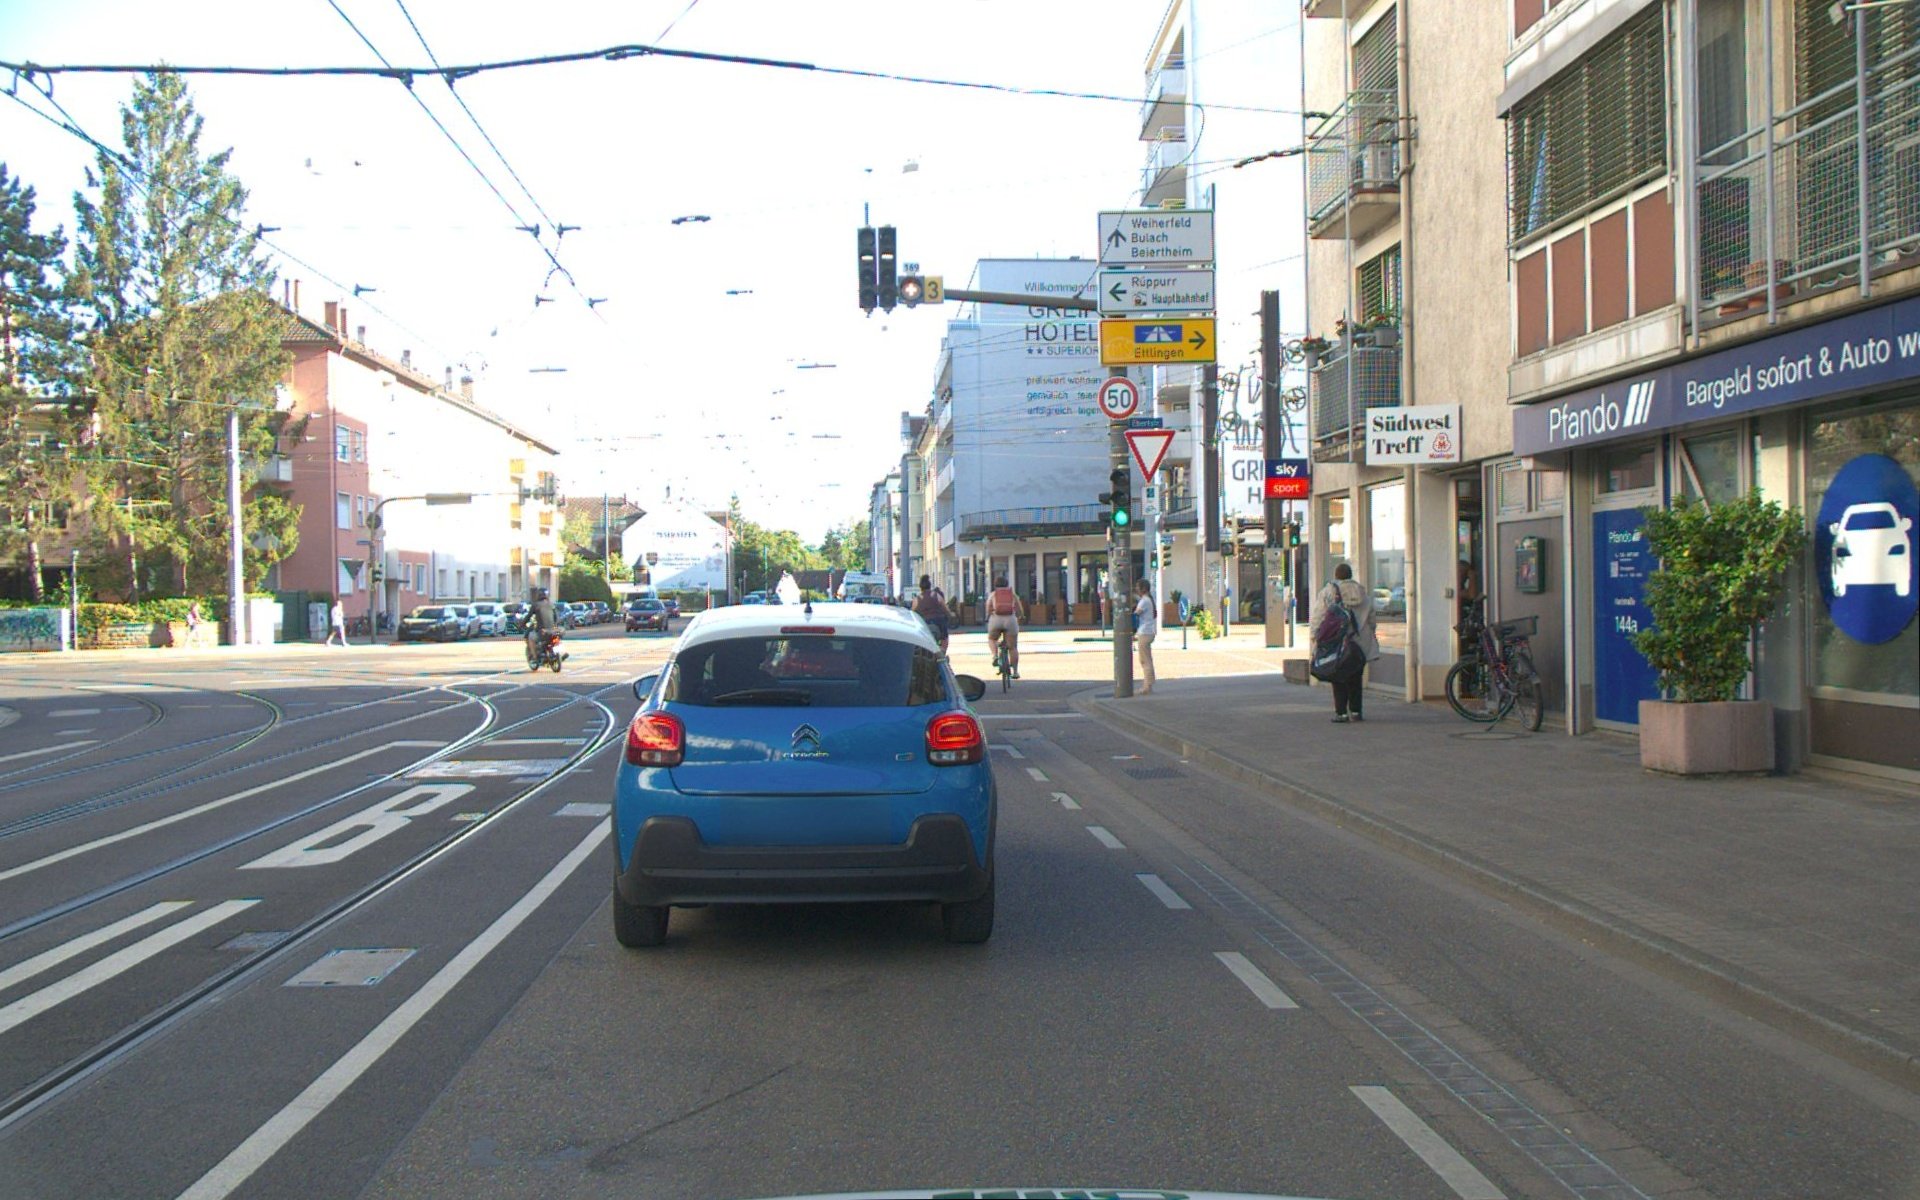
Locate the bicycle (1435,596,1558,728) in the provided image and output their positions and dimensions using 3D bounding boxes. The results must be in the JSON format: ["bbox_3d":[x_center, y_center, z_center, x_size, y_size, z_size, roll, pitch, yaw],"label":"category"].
[{"bbox_3d":[5.099,0.566,15.813,0.486,1.182,1.776,-1,-1,-4],"label":"bicycle"}]

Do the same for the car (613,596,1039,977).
[{"bbox_3d":[-0.841,0.727,8.394,1.705,1.478,3.653,0,0,-11],"label":"car"}]

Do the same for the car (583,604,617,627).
[{"bbox_3d":[-25.653,1.074,117.948,1.833,1.604,3.995,1,0,-6],"label":"car"}]

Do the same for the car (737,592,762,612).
[{"bbox_3d":[-21.605,0.184,169.622,2.174,1.965,4.945,1,0,-4],"label":"car"}]

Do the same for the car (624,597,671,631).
[{"bbox_3d":[-14.374,0.636,76.152,1.744,1.512,3.824,-1,0,-5],"label":"car"}]

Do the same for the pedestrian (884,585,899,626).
[{"bbox_3d":[-2.865,0.235,69.558,0.600,1.683,0.671,1,-1,-2],"label":"pedestrian"}]

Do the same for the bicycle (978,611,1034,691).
[{"bbox_3d":[0.742,0.779,26.276,0.794,1.202,2.065,1,0,4],"label":"bicycle"}]

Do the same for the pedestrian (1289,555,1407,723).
[{"bbox_3d":[3.953,0.382,16.913,0.868,1.619,0.809,-3,1,-9],"label":"pedestrian"}]

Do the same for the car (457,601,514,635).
[{"bbox_3d":[-22.572,0.824,78.827,1.707,1.553,4.226,1,0,-4],"label":"car"}]

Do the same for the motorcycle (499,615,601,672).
[{"bbox_3d":[-8.185,0.856,33.020,1.899,1.065,0.856,1,-1,30],"label":"motorcycle"}]

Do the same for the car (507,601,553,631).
[{"bbox_3d":[-23.808,0.893,91.695,1.833,1.604,3.995,1,0,-6],"label":"car"}]

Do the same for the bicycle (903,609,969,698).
[{"bbox_3d":[-0.377,0.767,24.616,0.921,1.245,2.094,1,0,-2],"label":"bicycle"}]

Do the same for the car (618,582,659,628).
[{"bbox_3d":[-23.067,0.347,118.735,2.370,3.197,3.486,1,0,-4],"label":"car"}]

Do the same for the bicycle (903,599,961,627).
[{"bbox_3d":[-1.117,0.515,65.769,2.208,1.019,0.855,-2,0,-6],"label":"bicycle"}]

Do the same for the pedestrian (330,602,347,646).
[{"bbox_3d":[-22.469,0.863,59.829,0.508,1.596,0.571,1,-1,-17],"label":"pedestrian"}]

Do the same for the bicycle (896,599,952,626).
[{"bbox_3d":[-1.487,0.512,68.253,2.208,1.019,0.855,-2,0,-6],"label":"bicycle"}]

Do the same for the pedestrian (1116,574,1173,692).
[{"bbox_3d":[2.688,0.479,24.122,0.528,1.652,0.733,-5,-2,21],"label":"pedestrian"}]

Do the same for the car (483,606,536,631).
[{"bbox_3d":[-23.294,0.945,85.673,1.909,1.261,4.278,1,0,-5],"label":"car"}]

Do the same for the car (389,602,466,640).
[{"bbox_3d":[-22.070,0.881,68.704,2.112,1.457,4.435,1,-2,-5],"label":"car"}]

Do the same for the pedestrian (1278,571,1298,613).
[{"bbox_3d":[12.892,-0.323,65.066,0.598,1.636,0.668,1,-1,27],"label":"pedestrian"}]

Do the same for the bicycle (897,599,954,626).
[{"bbox_3d":[-1.405,0.507,67.132,2.208,1.019,0.855,-2,0,-6],"label":"bicycle"}]

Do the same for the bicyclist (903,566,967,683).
[{"bbox_3d":[-0.381,0.369,24.853,0.921,1.702,1.079,1,-1,-2],"label":"bicyclist"}]

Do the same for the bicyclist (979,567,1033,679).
[{"bbox_3d":[0.732,0.354,26.022,0.794,1.721,0.935,1,-1,4],"label":"bicyclist"}]

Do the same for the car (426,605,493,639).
[{"bbox_3d":[-22.405,0.954,74.173,1.865,1.462,4.100,1,0,-3],"label":"car"}]

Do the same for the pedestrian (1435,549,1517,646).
[{"bbox_3d":[6.031,-0.033,19.323,0.618,1.106,0.670,-2,1,-38],"label":"pedestrian"}]

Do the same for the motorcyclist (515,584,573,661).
[{"bbox_3d":[-8.318,0.454,33.105,0.713,1.514,0.856,1,-1,29],"label":"motorcyclist"}]

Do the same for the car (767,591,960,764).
[{"bbox_3d":[-1.058,0.705,17.098,1.750,1.548,3.758,1,1,-5],"label":"car"}]

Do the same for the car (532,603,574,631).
[{"bbox_3d":[-24.035,1.001,97.750,1.833,1.604,3.995,1,0,-6],"label":"car"}]

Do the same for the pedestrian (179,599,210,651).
[{"bbox_3d":[-26.498,0.866,57.258,0.778,1.752,0.693,1,-1,-44],"label":"pedestrian"}]

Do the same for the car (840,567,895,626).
[{"bbox_3d":[-4.114,-0.140,72.747,2.221,2.525,5.002,0,0,-5],"label":"car"}]

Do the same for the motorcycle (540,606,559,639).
[{"bbox_3d":[-16.135,0.884,64.972,0.700,1.241,1.958,-1,-2,-14],"label":"motorcycle"}]

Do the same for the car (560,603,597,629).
[{"bbox_3d":[-24.865,1.037,107.818,1.833,1.604,3.995,1,0,-6],"label":"car"}]

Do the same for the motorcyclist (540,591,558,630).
[{"bbox_3d":[-16.127,0.415,64.948,0.681,1.523,0.682,-1,-2,-14],"label":"motorcyclist"}]

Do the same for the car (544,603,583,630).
[{"bbox_3d":[-24.473,1.015,102.221,1.833,1.604,3.995,1,0,-6],"label":"car"}]

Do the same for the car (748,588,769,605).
[{"bbox_3d":[-22.816,-0.371,186.995,2.033,1.793,5.032,1,0,-4],"label":"car"}]

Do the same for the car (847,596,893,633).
[{"bbox_3d":[-3.716,0.581,67.702,1.626,1.456,3.882,1,0,-7],"label":"car"}]

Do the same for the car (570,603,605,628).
[{"bbox_3d":[-25.290,1.053,112.495,1.833,1.604,3.995,1,0,-6],"label":"car"}]
